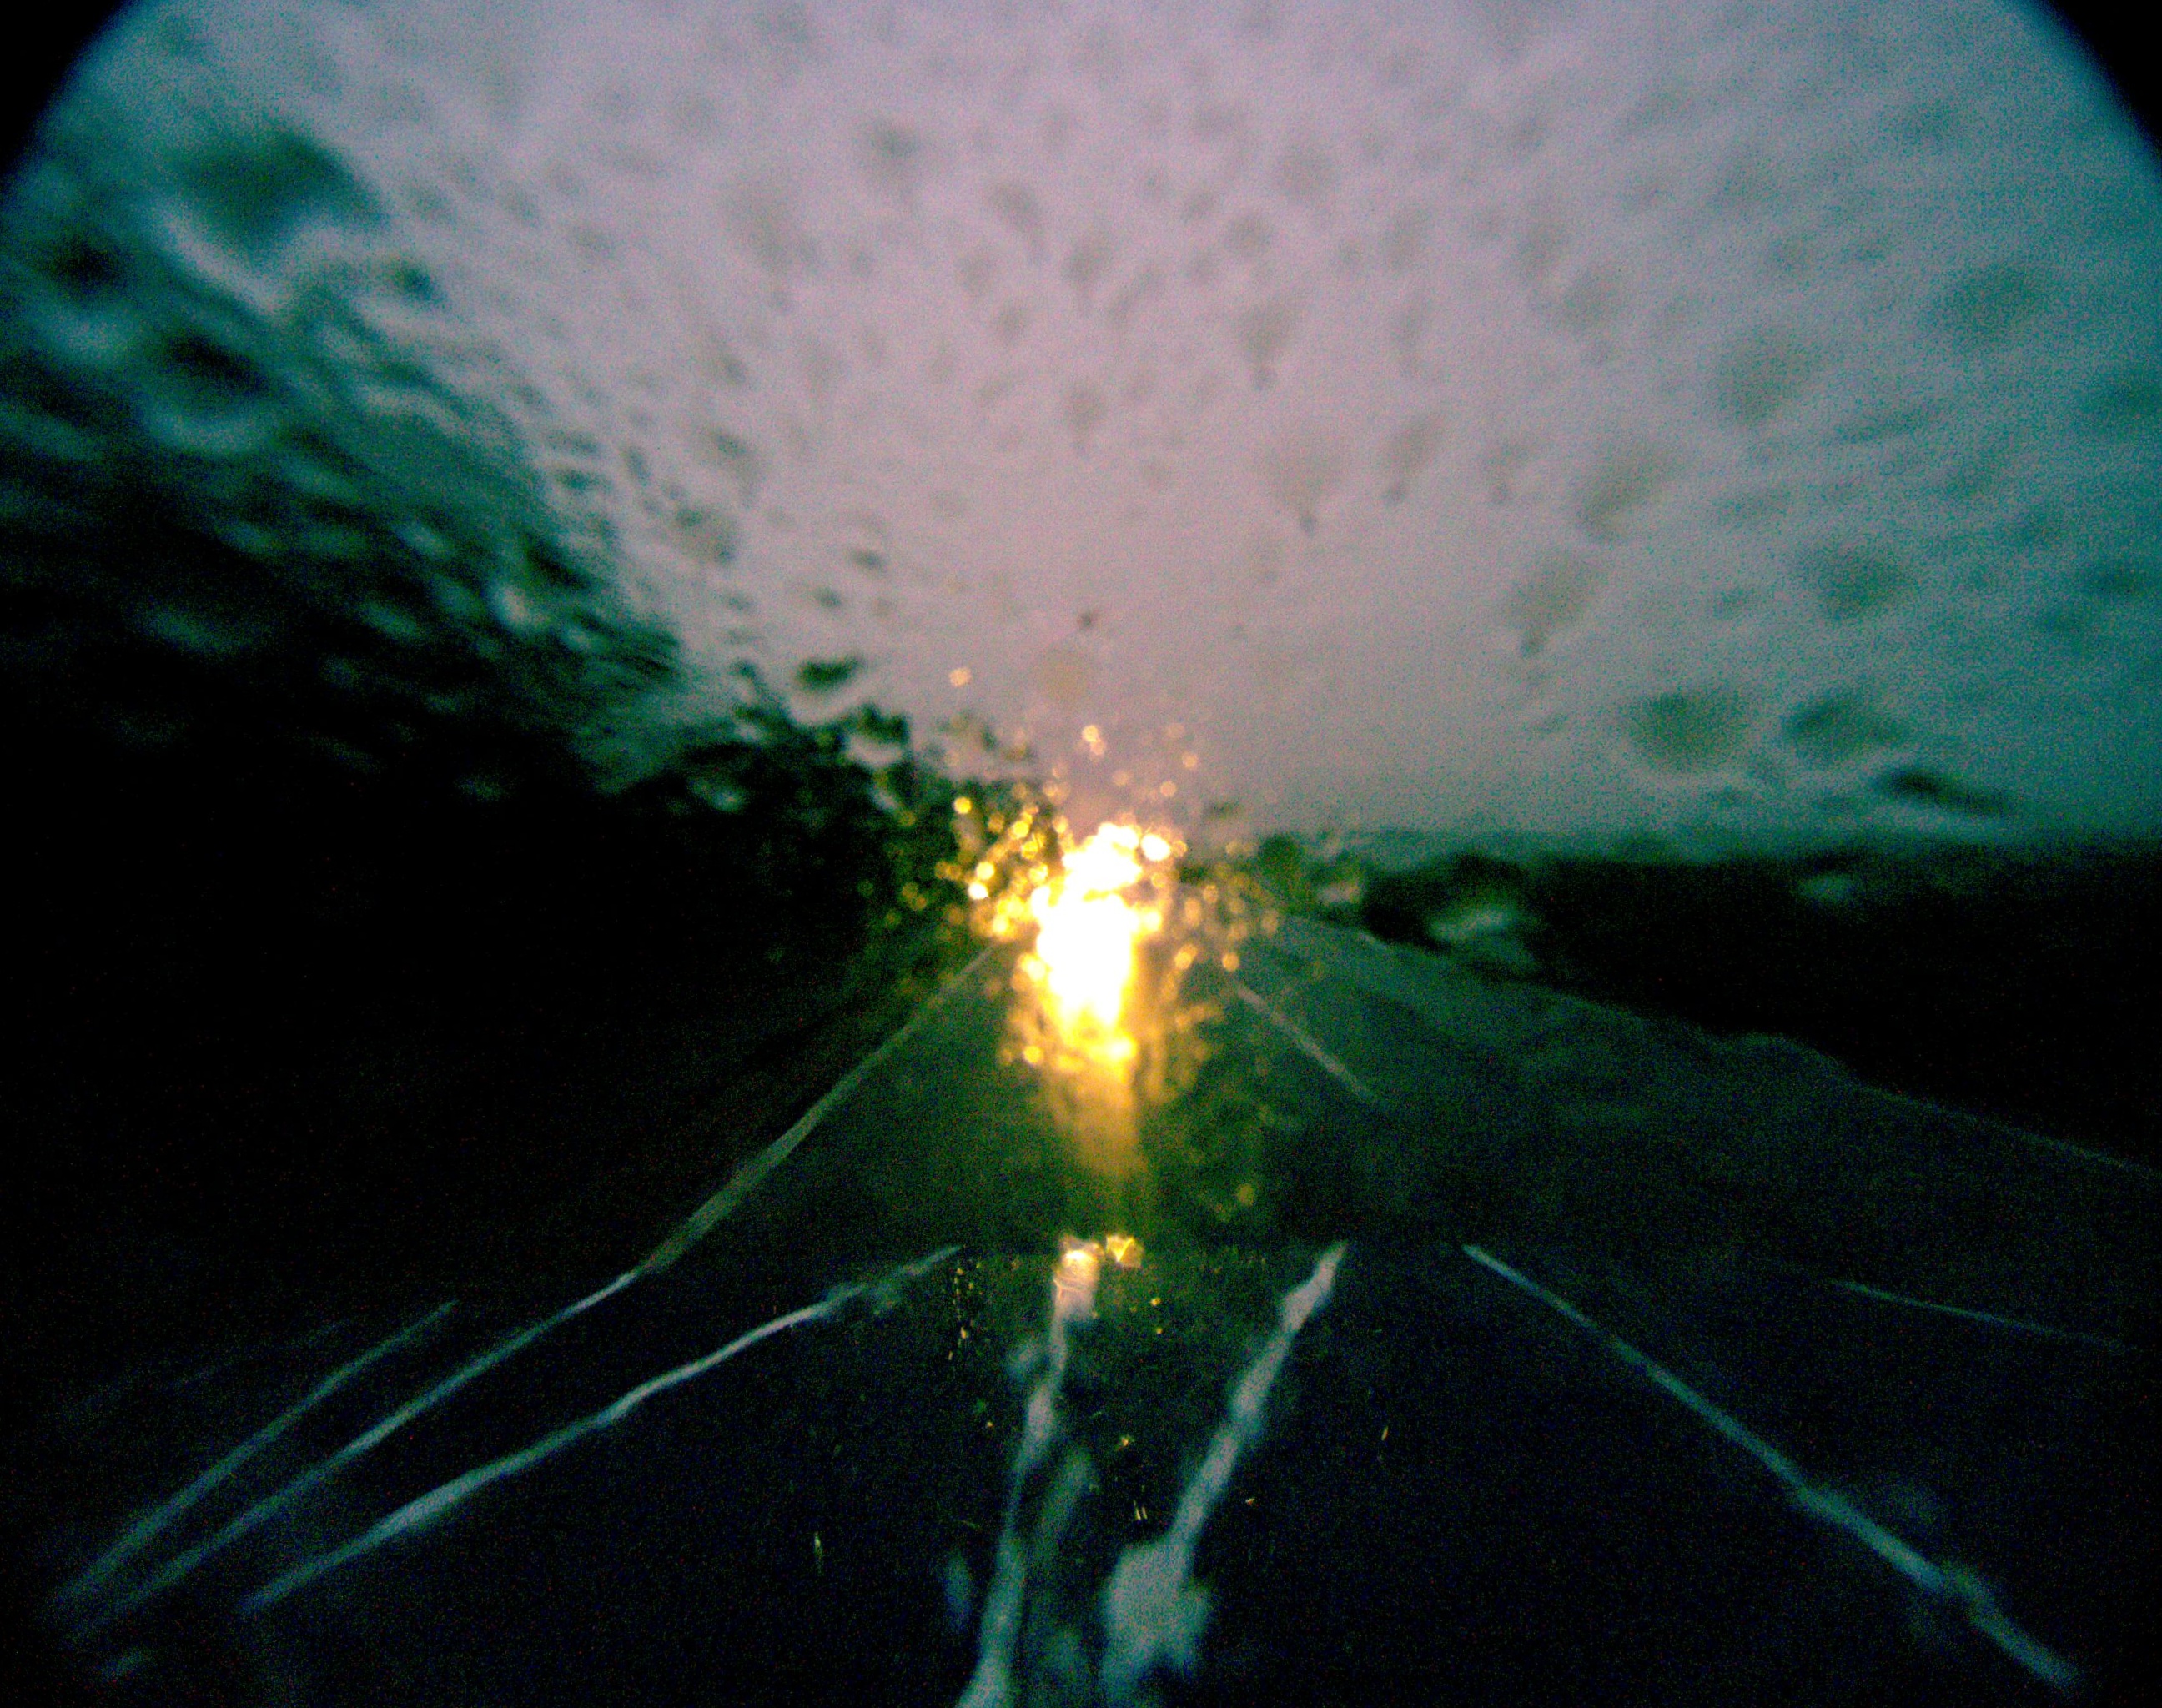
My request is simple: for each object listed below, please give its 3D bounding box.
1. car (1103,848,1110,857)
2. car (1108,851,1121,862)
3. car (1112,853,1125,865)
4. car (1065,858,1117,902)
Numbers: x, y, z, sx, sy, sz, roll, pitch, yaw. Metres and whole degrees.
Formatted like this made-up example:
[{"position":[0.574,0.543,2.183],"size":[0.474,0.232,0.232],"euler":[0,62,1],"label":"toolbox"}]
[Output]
[{"position":[6.264,-0.358,187.231],"size":[1.871,2.041,4.294],"euler":[0,0,1],"label":"car"},{"position":[5.801,0.388,132.074],"size":[1.998,1.860,4.952],"euler":[1,0,1],"label":"car"},{"position":[5.376,0.645,109.788],"size":[1.733,1.637,4.261],"euler":[2,0,1],"label":"car"},{"position":[0.350,0.953,29.534],"size":[1.844,1.484,3.955],"euler":[-2,1,0],"label":"car"}]
